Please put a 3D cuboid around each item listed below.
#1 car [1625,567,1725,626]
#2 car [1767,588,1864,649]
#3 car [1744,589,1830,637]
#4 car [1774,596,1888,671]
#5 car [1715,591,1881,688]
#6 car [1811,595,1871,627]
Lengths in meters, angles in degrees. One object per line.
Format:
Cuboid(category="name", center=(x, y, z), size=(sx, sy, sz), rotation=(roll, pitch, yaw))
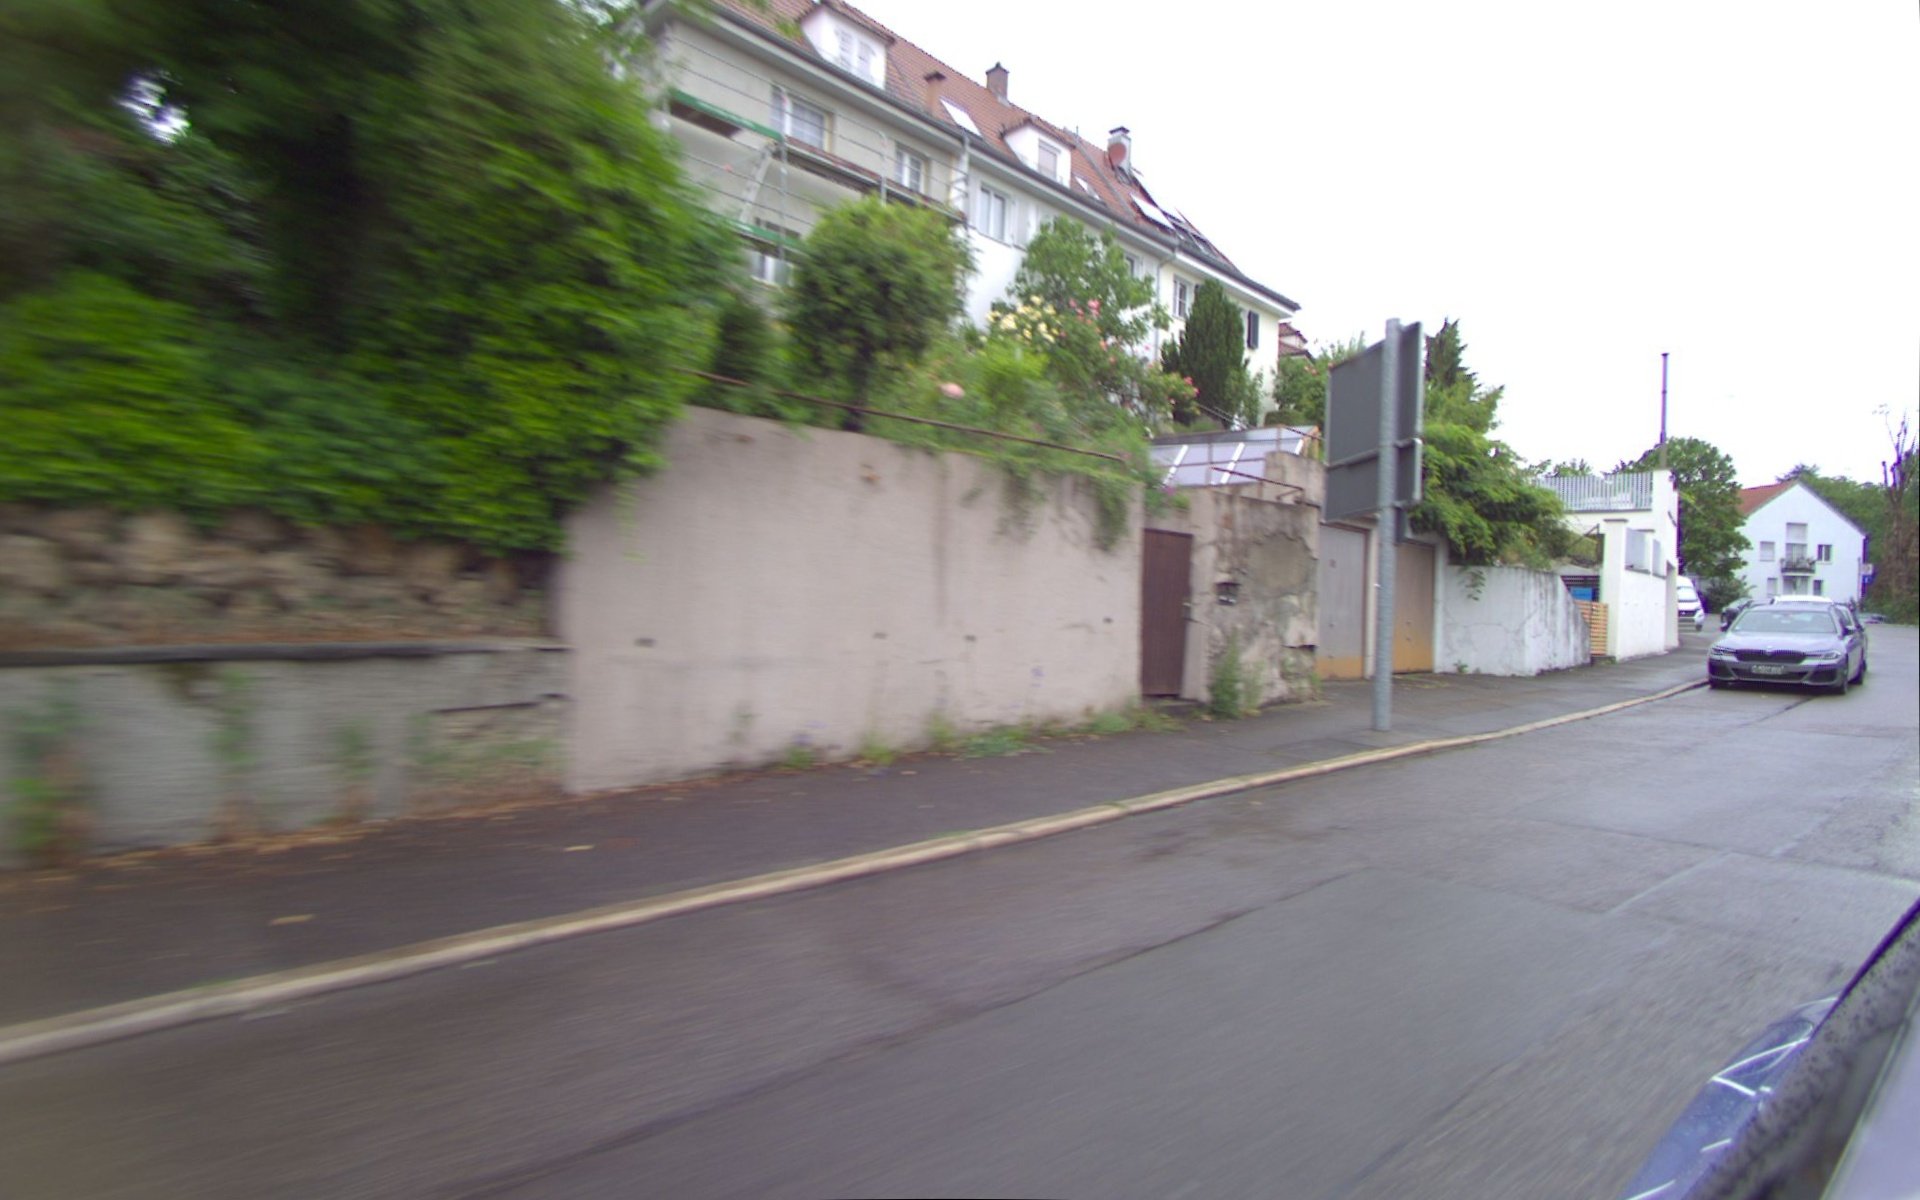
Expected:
Cuboid(category="car", center=(34.309, -0.274, 48.748), size=(2.077, 2.573, 5.593), rotation=(3, 3, 16))
Cuboid(category="car", center=(25.365, 0.481, 30.134), size=(1.798, 1.670, 4.157), rotation=(1, 1, 35))
Cuboid(category="car", center=(28.417, 0.408, 34.898), size=(1.670, 1.502, 4.156), rotation=(0, 1, 31))
Cuboid(category="car", center=(18.895, 0.656, 21.897), size=(1.641, 1.455, 4.106), rotation=(0, 0, 44))
Cuboid(category="car", center=(15.153, 0.598, 18.207), size=(4.627, 1.515, 1.791), rotation=(-1, 1, -44))
Cuboid(category="car", center=(52.805, 0.605, 60.640), size=(3.869, 1.685, 1.843), rotation=(-1, 5, -36))
